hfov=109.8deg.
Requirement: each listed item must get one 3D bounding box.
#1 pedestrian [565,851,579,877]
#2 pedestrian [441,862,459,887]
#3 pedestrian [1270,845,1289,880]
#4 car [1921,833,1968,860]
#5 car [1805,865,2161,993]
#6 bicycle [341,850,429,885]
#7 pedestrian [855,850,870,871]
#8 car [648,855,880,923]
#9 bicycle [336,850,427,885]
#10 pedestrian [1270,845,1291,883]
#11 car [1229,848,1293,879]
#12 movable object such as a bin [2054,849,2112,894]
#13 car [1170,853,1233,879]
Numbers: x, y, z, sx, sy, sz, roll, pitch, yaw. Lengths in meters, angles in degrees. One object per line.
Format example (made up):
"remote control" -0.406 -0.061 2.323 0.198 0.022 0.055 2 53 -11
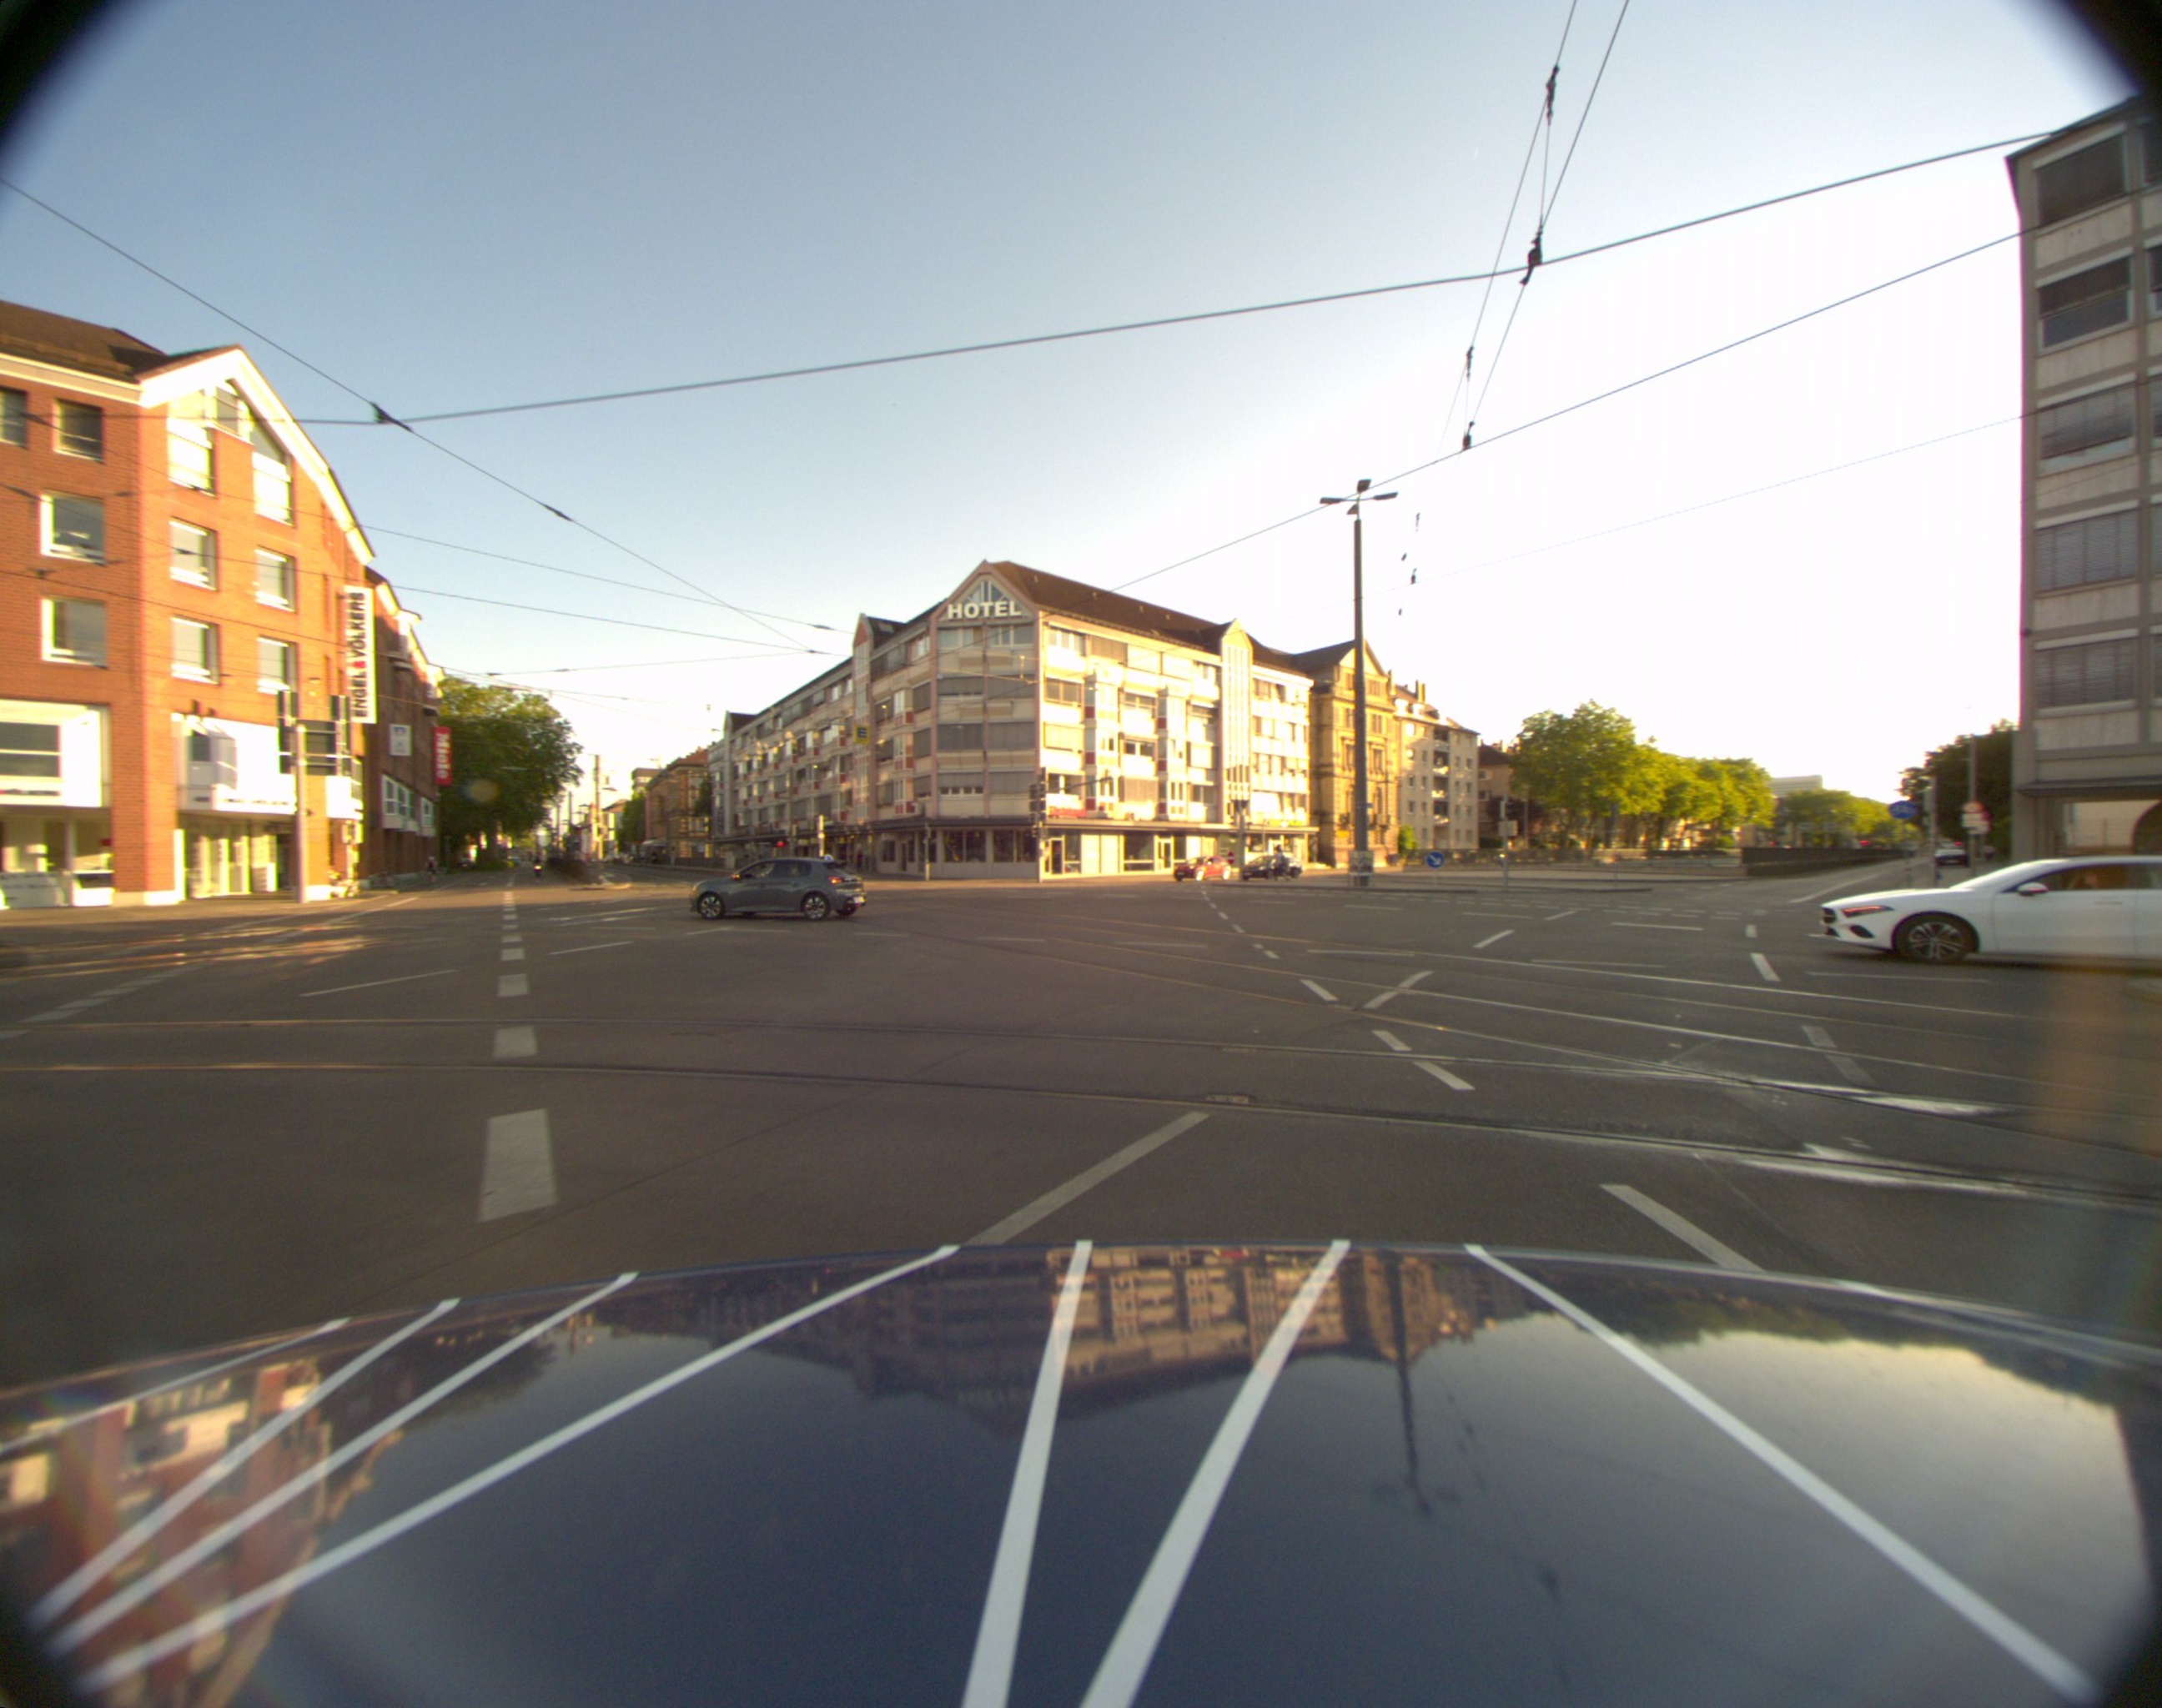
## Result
"pedestrian" -39.371 0.767 58.772 0.812 2.002 0.676 -2 2 -40
"pedestrian" -52.991 1.728 63.830 1.090 2.002 1.081 -2 2 -42
"pedestrian" 9.078 0.397 34.822 0.704 1.573 0.826 0 1 4
"car" 65.308 -0.576 57.444 4.270 2.002 1.994 -1 1 -37
"car" 12.597 0.891 9.804 4.549 1.440 1.821 0 -1 38
"bicycle" -36.558 0.668 40.007 3.314 1.716 1.066 -1 2 -38
"pedestrian" -16.318 0.497 56.708 0.709 1.540 0.904 0 4 -39
"car" -7.392 0.787 17.960 4.696 1.494 1.918 0 0 6
"bicycle" -35.860 0.651 39.072 3.314 1.716 1.066 -1 2 -37
"pedestrian" 8.942 0.436 34.016 0.727 1.640 0.771 0 1 -1
"car" 10.424 0.525 43.702 2.217 1.546 4.621 -4 -1 30
"movable object such as a bin" 31.155 0.523 23.622 1.417 1.319 0.957 -1 2 -33
"car" 7.258 0.685 45.576 3.904 1.414 1.644 -1 1 -42
